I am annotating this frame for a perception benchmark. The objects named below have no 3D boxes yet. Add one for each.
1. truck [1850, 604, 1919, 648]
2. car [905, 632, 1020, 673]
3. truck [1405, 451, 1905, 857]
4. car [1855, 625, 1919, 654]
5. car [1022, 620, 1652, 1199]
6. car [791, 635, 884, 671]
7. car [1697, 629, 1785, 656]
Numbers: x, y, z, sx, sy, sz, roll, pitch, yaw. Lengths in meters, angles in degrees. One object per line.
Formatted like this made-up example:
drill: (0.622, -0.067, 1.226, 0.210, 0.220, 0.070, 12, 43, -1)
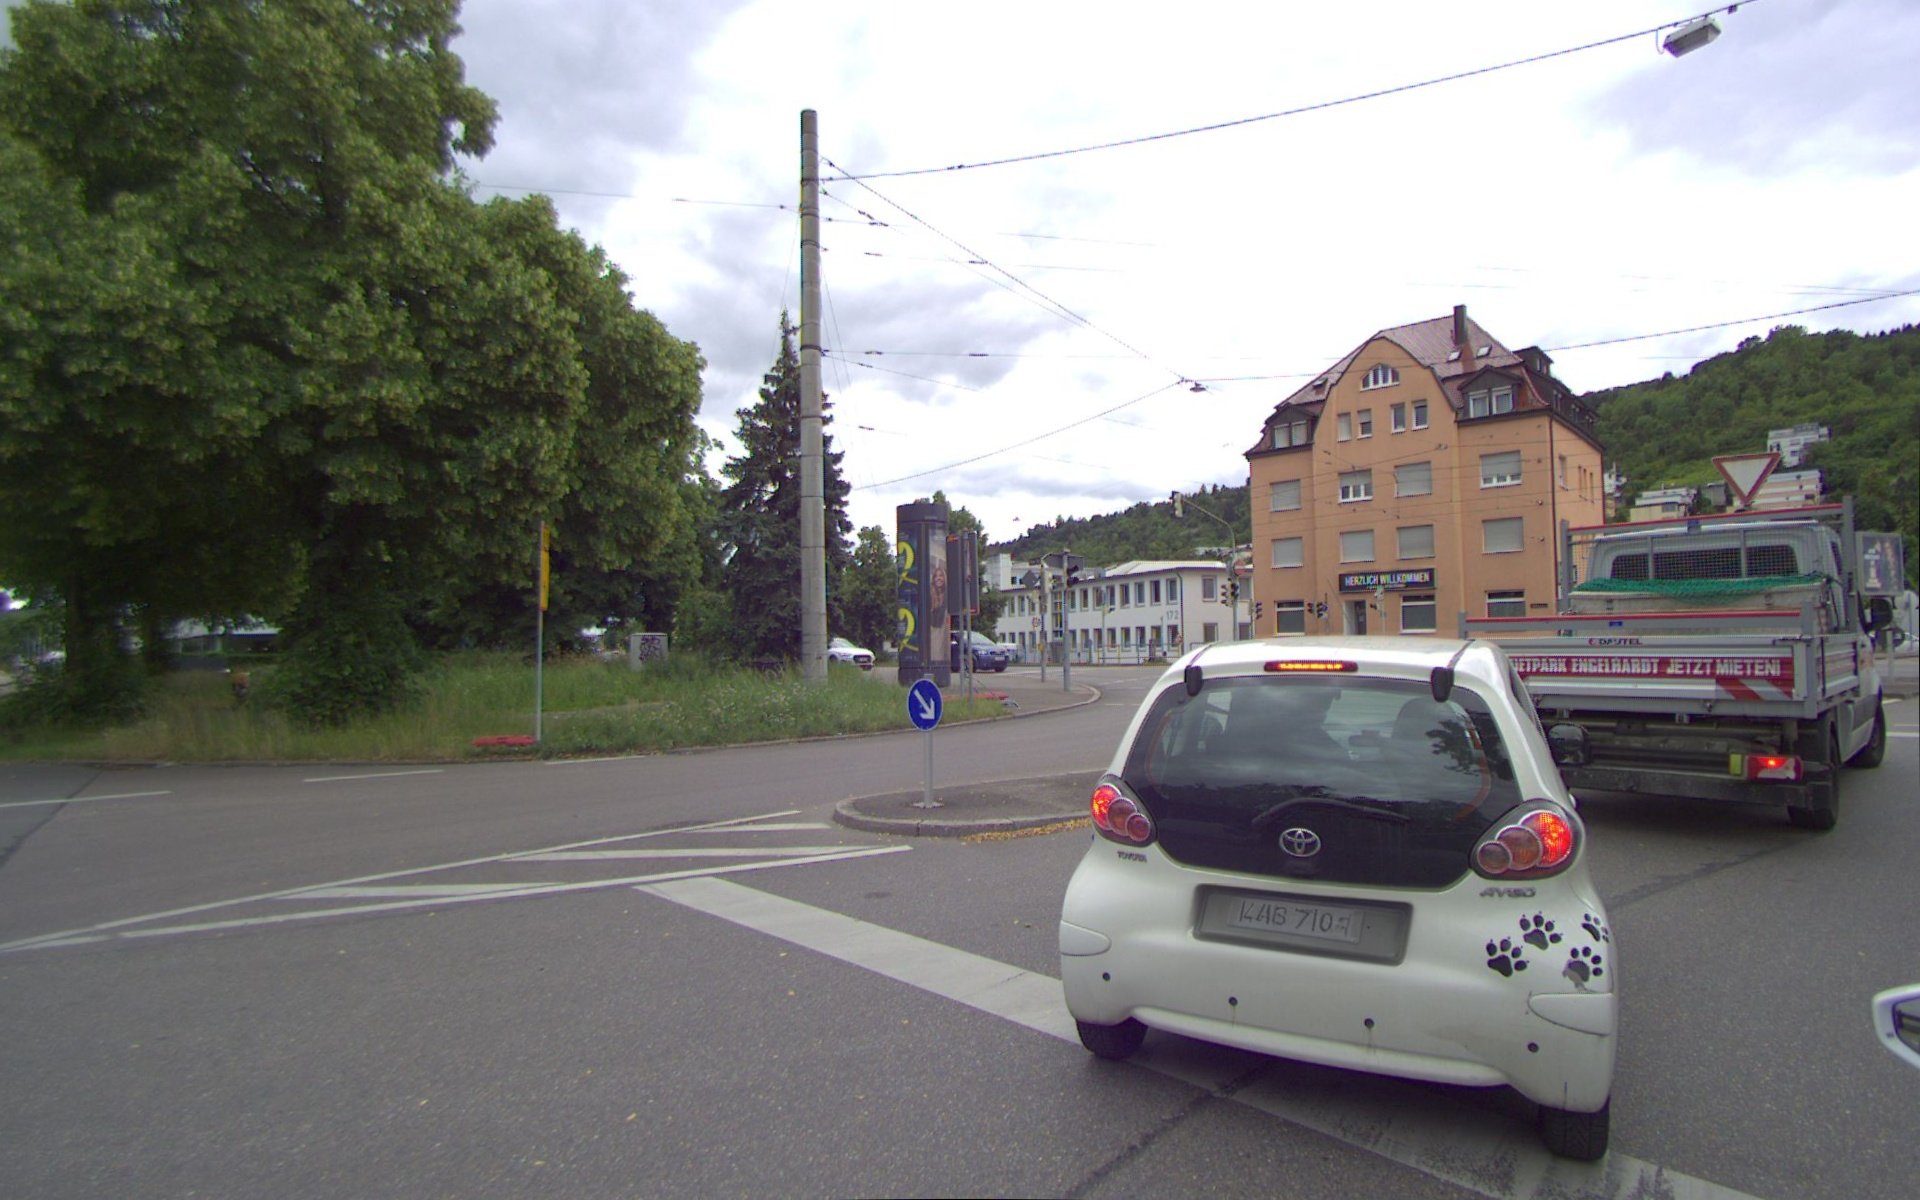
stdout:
truck: (55.252, 1.490, 58.241, 5.112, 2.424, 1.995, -3, -3, 33)
car: (0.023, 1.926, 36.642, 1.790, 1.385, 4.422, 0, -3, -40)
truck: (6.484, 0.418, 8.967, 5.986, 2.429, 2.399, 1, -4, -43)
car: (52.923, 2.216, 56.153, 1.764, 1.553, 4.162, 1, -3, -44)
car: (1.739, 0.864, 4.312, 1.615, 1.451, 3.426, -3, -3, 28)
car: (-5.246, 2.261, 42.578, 1.791, 1.385, 4.421, 0, -3, -41)
car: (47.569, 2.592, 61.257, 4.153, 1.553, 1.768, -3, -3, 39)
